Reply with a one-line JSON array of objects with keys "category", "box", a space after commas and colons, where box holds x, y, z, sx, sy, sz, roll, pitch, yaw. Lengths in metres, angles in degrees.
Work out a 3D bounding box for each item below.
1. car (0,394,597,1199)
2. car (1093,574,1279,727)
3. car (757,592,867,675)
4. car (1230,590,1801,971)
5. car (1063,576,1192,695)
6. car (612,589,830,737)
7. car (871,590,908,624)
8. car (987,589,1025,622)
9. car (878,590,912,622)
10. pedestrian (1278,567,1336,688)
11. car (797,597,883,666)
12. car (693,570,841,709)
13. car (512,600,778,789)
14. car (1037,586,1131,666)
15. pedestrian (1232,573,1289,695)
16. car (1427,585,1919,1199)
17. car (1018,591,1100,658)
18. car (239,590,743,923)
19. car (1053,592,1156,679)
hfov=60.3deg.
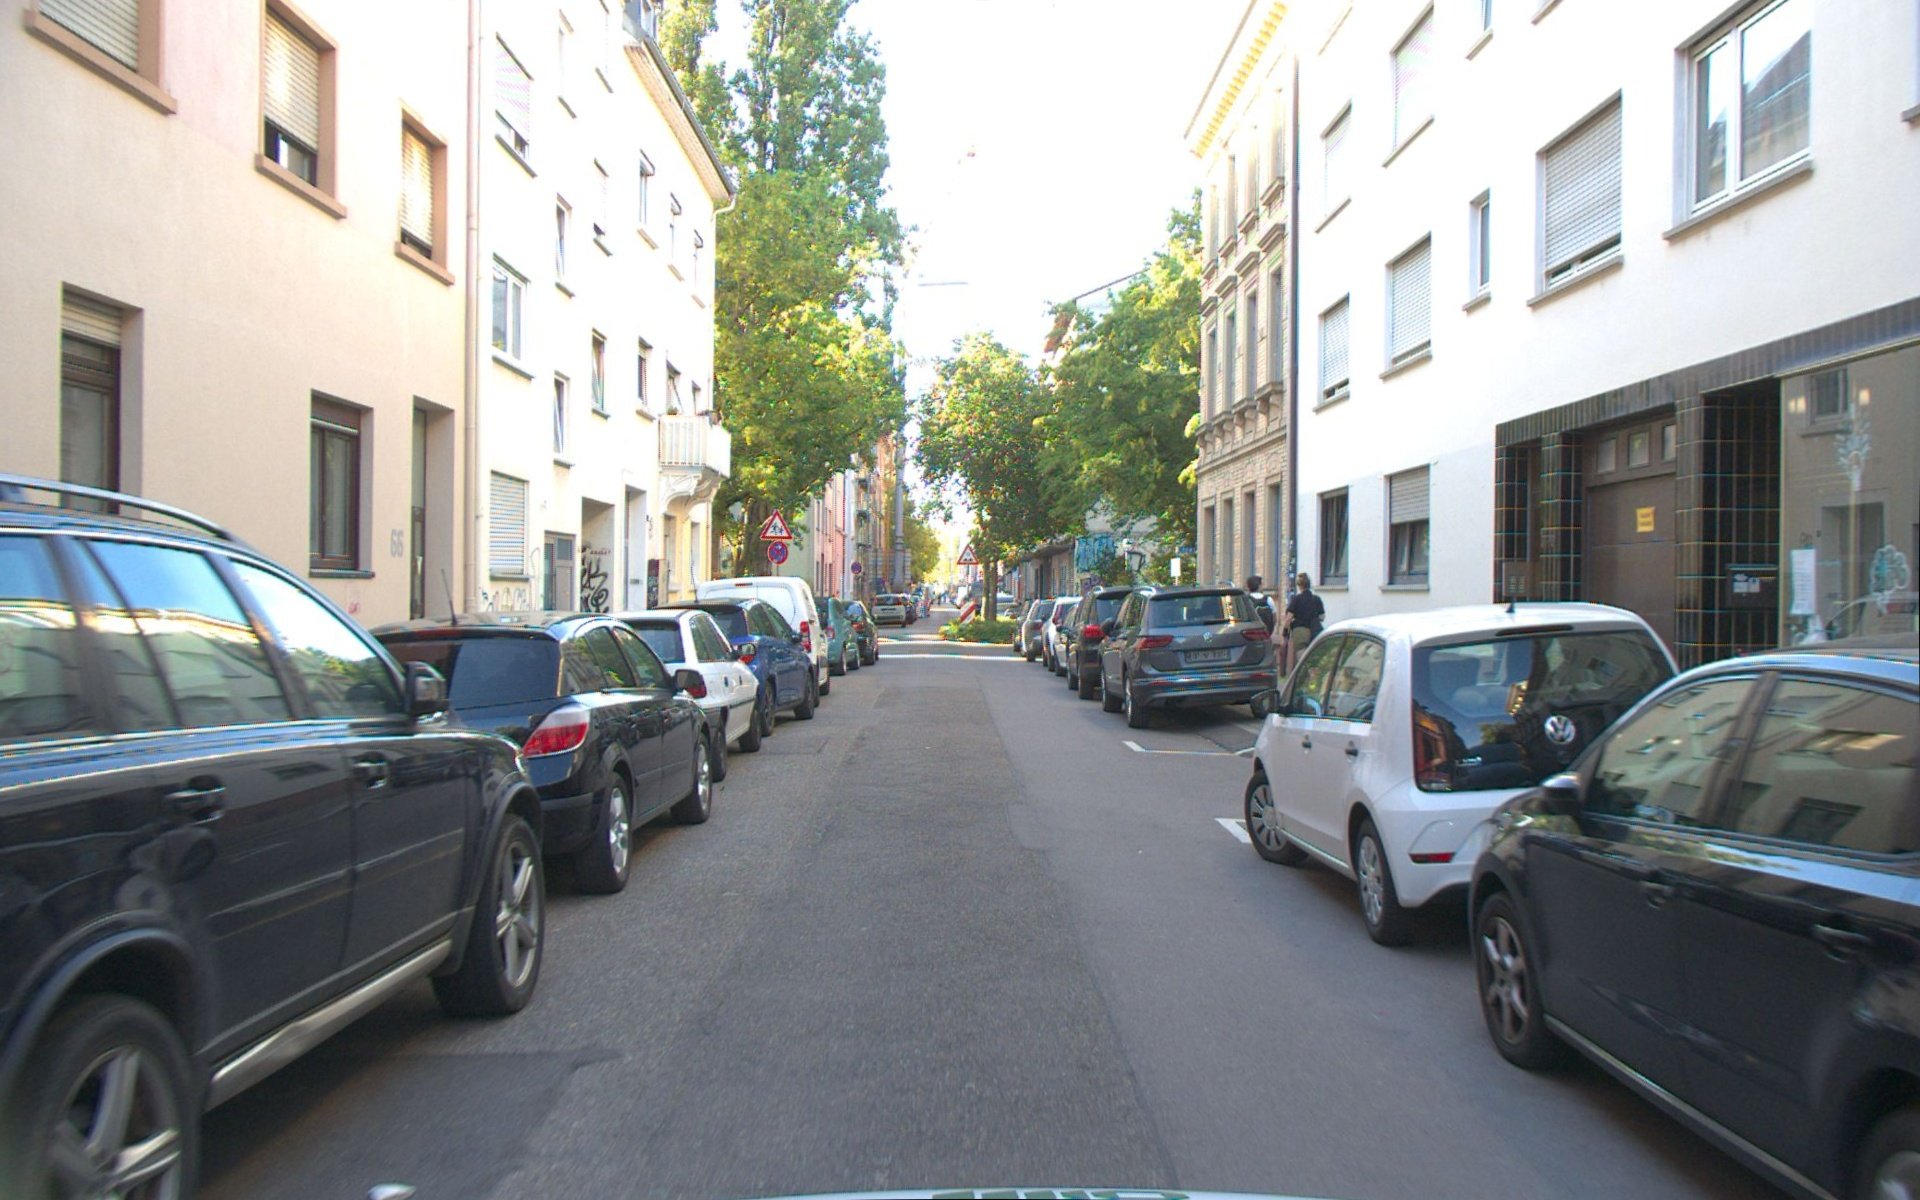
[{"category": "car", "box": [-2.425, 0.577, 4.518, 1.707, 1.842, 4.673, -1, 0, 1]}, {"category": "car", "box": [2.777, 0.574, 21.199, 1.642, 1.655, 4.249, -3, 0, -1]}, {"category": "car", "box": [-2.869, 0.612, 32.763, 1.635, 1.495, 3.821, -1, 0, 3]}, {"category": "car", "box": [2.638, 0.737, 8.851, 1.642, 1.533, 3.936, -1, 0, -1]}, {"category": "car", "box": [2.593, 0.532, 26.319, 1.641, 1.711, 4.094, -1, 0, 1]}, {"category": "car", "box": [-2.672, 0.653, 19.356, 1.638, 1.512, 3.994, -1, 0, 5]}, {"category": "car", "box": [-3.304, 0.312, 78.083, 1.642, 1.513, 4.094, -1, 0, -1]}, {"category": "car", "box": [2.198, 0.251, 79.327, 1.642, 1.513, 3.637, -1, 0, -1]}, {"category": "car", "box": [-3.256, 0.295, 83.383, 1.642, 1.513, 4.094, -1, 0, -1]}, {"category": "pedestrian", "box": [4.949, 0.384, 23.628, 0.671, 1.689, 0.717, 0, 0, -1]}, {"category": "car", "box": [-2.620, 0.664, 36.894, 1.636, 1.385, 4.048, -1, 0, -1]}, {"category": "car", "box": [-2.712, 0.510, 24.033, 1.729, 1.816, 4.038, -1, 0, -1]}, {"category": "car", "box": [-2.693, 0.738, 15.051, 1.639, 1.412, 4.181, -1, 0, -1]}, {"category": "car", "box": [2.615, 0.522, 35.591, 1.642, 1.588, 3.795, -1, 0, -1]}, {"category": "pedestrian", "box": [4.234, 0.469, 23.340, 0.671, 1.689, 0.717, 0, 0, -1]}, {"category": "car", "box": [2.659, 0.743, 4.387, 1.642, 1.533, 3.936, -1, 0, -1]}, {"category": "car", "box": [2.376, 0.551, 40.492, 1.642, 1.513, 4.094, -1, 0, -1]}, {"category": "car", "box": [-2.515, 0.732, 10.040, 1.707, 1.533, 4.347, -1, 0, 1]}, {"category": "car", "box": [2.682, 0.620, 31.380, 1.534, 1.509, 3.618, -1, 0, -1]}]
